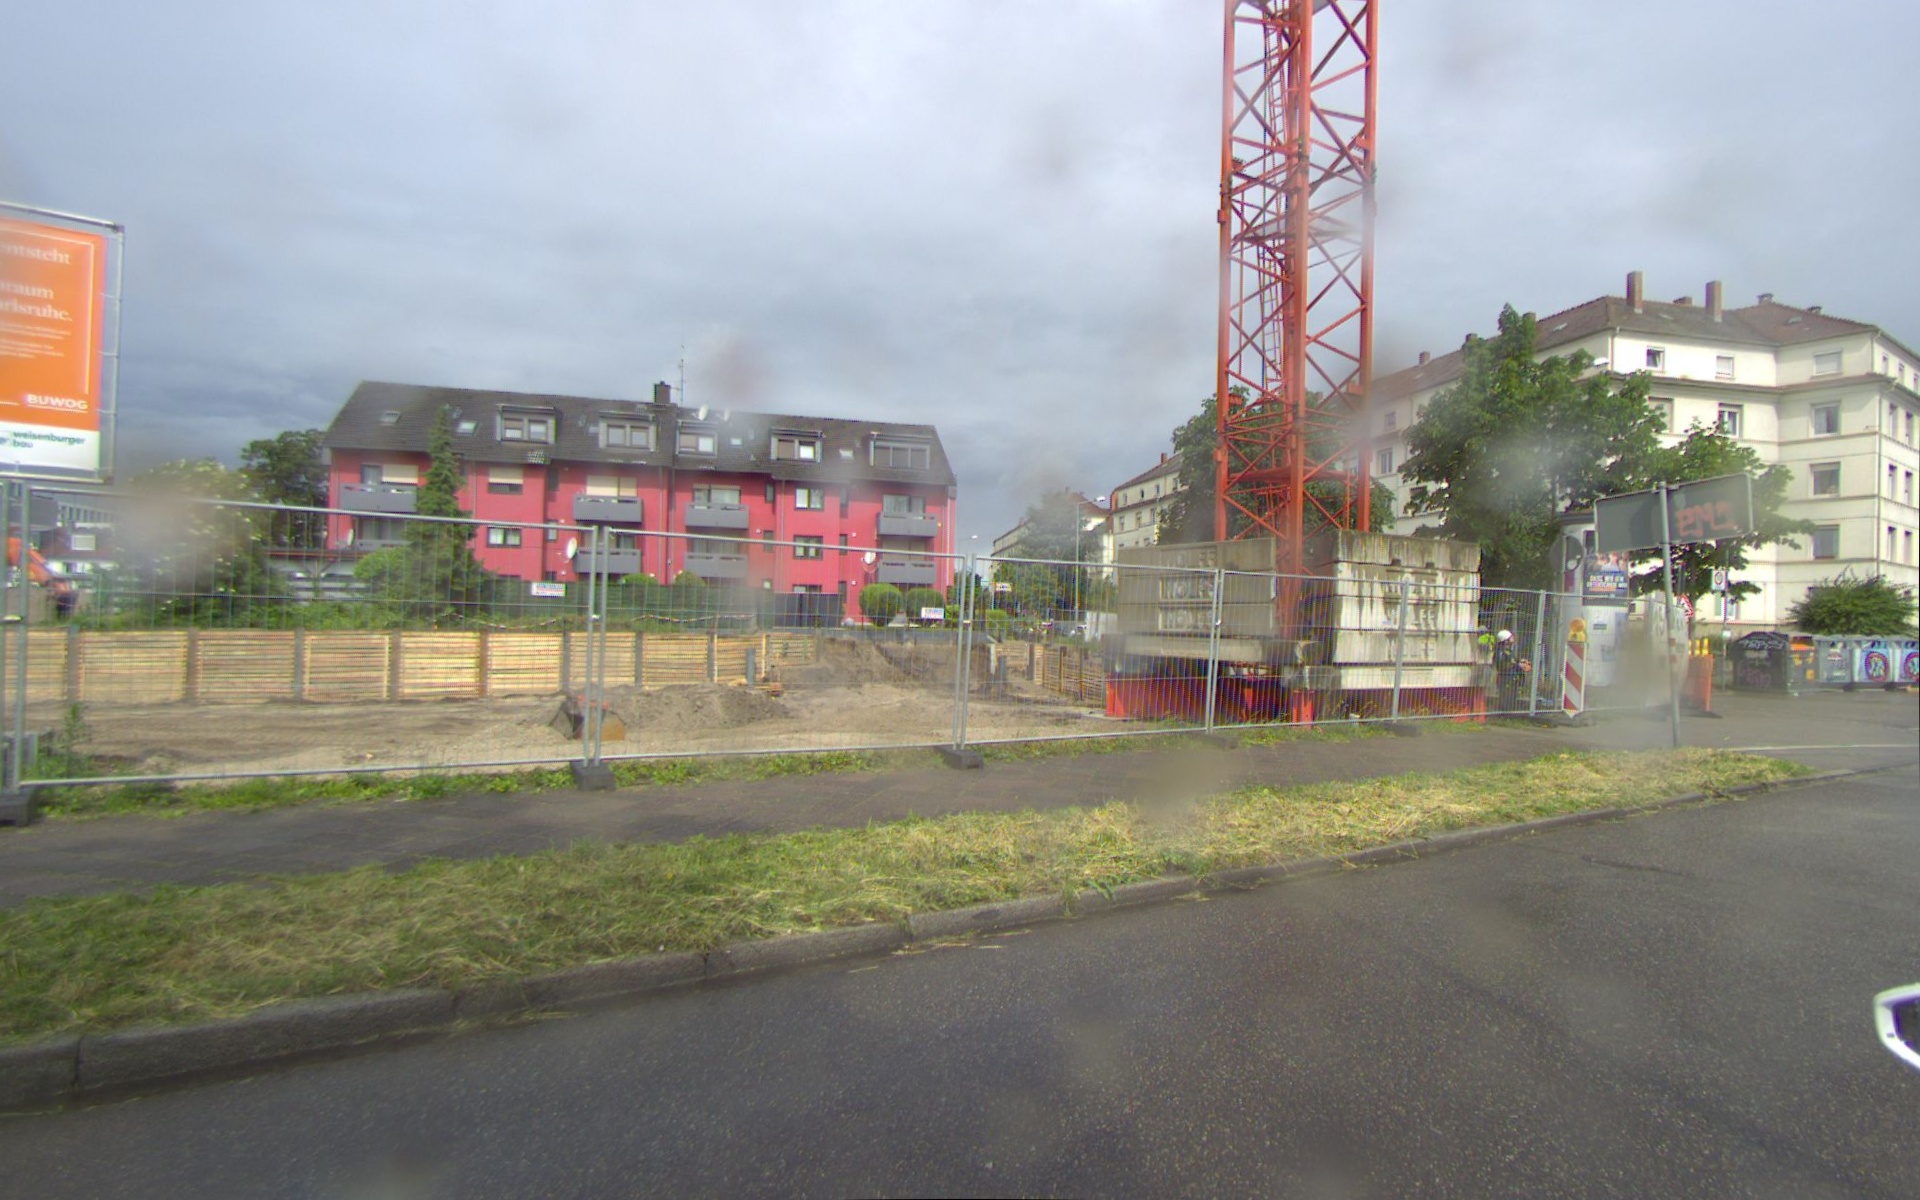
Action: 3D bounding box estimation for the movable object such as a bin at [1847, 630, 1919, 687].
[{"bbox_3d":[28.646,1.779,30.864,1.433,1.684,1.539,0,-1,-12],"label":"movable object such as a bin"}]

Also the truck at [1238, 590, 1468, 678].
[{"bbox_3d":[15.957,1.402,42.003,3.731,3.226,9.810,1,-2,-17],"label":"truck"}]

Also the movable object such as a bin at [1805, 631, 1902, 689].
[{"bbox_3d":[27.118,1.784,30.504,1.637,1.696,1.539,0,-1,-12],"label":"movable object such as a bin"}]

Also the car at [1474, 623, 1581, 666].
[{"bbox_3d":[22.319,1.743,39.616,1.639,1.606,3.495,1,-2,-18],"label":"car"}]

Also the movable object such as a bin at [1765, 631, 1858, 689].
[{"bbox_3d":[25.536,1.766,30.147,1.501,1.678,1.539,0,-1,-12],"label":"movable object such as a bin"}]

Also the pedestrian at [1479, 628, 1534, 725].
[{"bbox_3d":[9.811,1.352,18.065,0.709,1.651,0.684,3,0,21],"label":"pedestrian"}]

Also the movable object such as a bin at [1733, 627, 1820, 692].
[{"bbox_3d":[24.066,1.721,29.644,1.241,1.848,1.539,0,-1,-12],"label":"movable object such as a bin"}]
